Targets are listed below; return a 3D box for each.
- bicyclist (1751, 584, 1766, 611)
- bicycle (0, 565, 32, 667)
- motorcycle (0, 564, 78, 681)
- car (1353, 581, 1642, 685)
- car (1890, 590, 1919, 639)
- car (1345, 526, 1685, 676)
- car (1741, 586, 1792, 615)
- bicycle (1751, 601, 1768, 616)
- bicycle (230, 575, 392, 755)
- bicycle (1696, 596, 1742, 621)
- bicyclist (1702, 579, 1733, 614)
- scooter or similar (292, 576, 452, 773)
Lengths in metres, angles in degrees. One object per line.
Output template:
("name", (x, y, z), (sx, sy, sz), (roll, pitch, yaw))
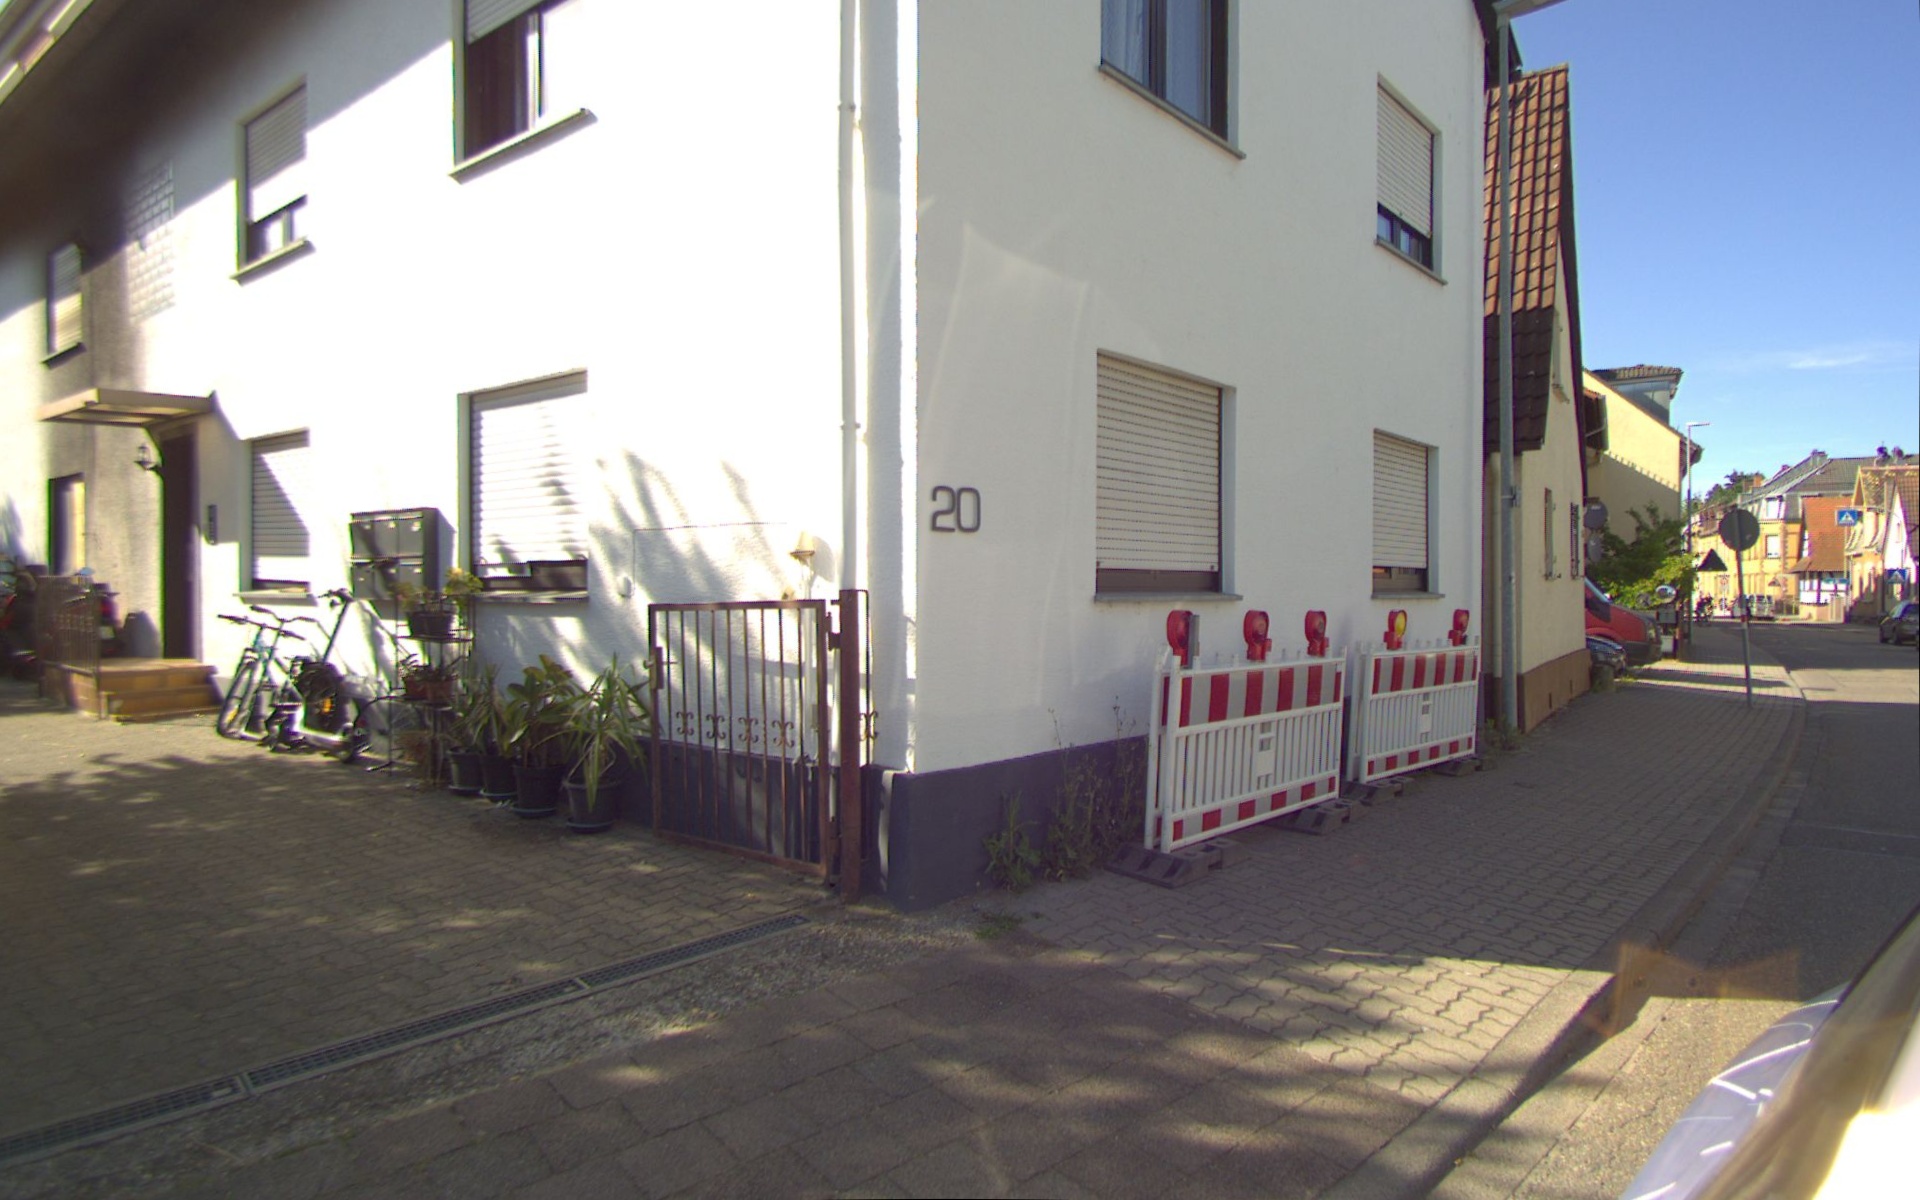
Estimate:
("bicyclist", (46.446, -0.142, 58.848), (0.607, 1.553, 0.647), (-3, -1, 36))
("bicycle", (-12.819, 0.172, 12.993), (2.667, 1.234, 0.854), (2, 2, 37))
("motorcycle", (-11.162, 0.203, 11.752), (2.667, 1.234, 0.854), (2, 2, 37))
("car", (9.560, 0.494, 18.157), (4.363, 1.505, 1.816), (3, 3, 36))
("car", (34.888, 0.499, 36.266), (1.736, 1.634, 3.951), (1, 1, 34))
("car", (11.095, -0.118, 20.603), (5.783, 2.687, 1.944), (3, 3, 34))
("car", (57.912, 0.009, 72.768), (1.863, 1.904, 4.792), (1, 2, 26))
("bicycle", (46.473, 0.512, 58.846), (0.620, 0.789, 1.889), (-3, 0, 35))
("bicycle", (-4.998, 0.434, 7.756), (1.705, 1.234, 0.481), (2, 2, 37))
("bicycle", (51.205, 0.562, 68.341), (1.241, 1.571, 3.976), (-3, 0, 18))
("bicyclist", (51.204, -0.238, 68.438), (1.241, 2.337, 1.235), (-3, -1, 18))
("scooter or similar", (-4.097, 0.458, 7.021), (1.394, 1.234, 0.450), (2, 2, 37))
